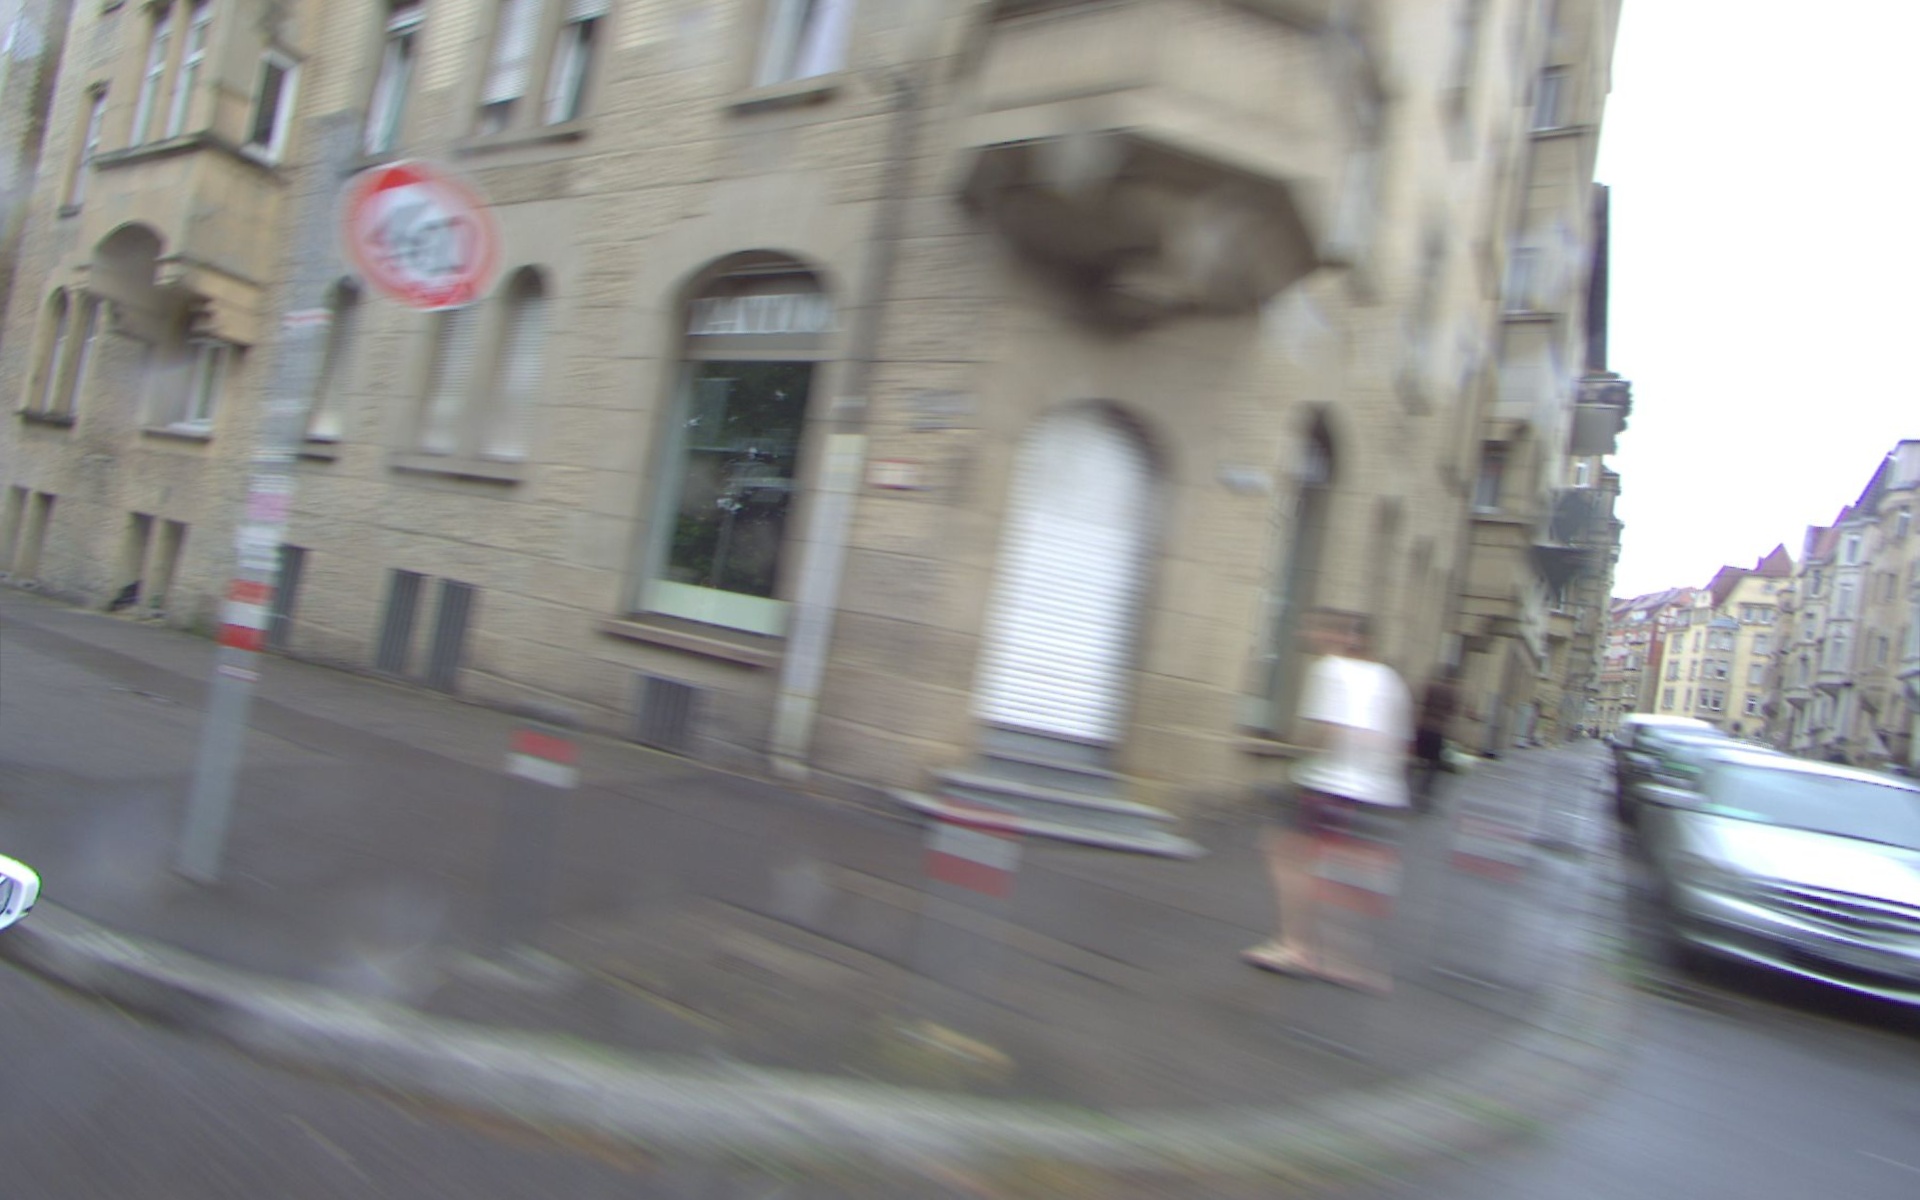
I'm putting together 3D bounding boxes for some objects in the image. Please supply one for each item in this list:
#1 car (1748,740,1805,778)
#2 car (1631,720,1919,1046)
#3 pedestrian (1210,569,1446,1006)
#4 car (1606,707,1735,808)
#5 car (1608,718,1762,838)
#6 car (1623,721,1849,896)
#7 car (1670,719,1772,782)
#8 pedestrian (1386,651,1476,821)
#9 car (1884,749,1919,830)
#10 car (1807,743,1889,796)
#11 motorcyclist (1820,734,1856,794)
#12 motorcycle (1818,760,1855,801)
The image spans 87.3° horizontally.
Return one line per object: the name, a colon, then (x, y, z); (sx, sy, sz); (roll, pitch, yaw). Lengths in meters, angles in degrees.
car: (44.457, 8.634, 54.853); (1.722, 1.711, 3.997); (7, -3, 32)
car: (6.148, 1.811, 7.278); (1.861, 1.548, 4.345); (7, -2, 32)
pedestrian: (1.758, 0.821, 4.766); (0.745, 1.808, 0.695); (7, 0, 30)
car: (14.851, 3.241, 21.153); (1.969, 1.697, 4.305); (2, -5, 35)
car: (11.816, 2.828, 16.597); (1.748, 1.499, 4.285); (4, -4, 34)
car: (9.298, 2.364, 12.380); (1.748, 1.437, 4.282); (7, -1, 34)
car: (25.929, 5.084, 34.413); (1.841, 1.724, 4.002); (7, -3, 26)
pedestrian: (5.092, 1.455, 10.876); (0.616, 1.707, 0.549); (7, -2, 35)
car: (26.014, 5.068, 26.228); (1.968, 2.035, 4.322); (7, -3, 34)
car: (34.994, 6.651, 39.740); (1.723, 1.711, 3.995); (7, -3, 34)
motorcyclist: (27.292, 5.089, 31.284); (0.635, 1.728, 0.931); (6, -2, 38)
motorcycle: (27.243, 5.591, 31.289); (0.635, 1.110, 2.284); (6, -3, 38)
